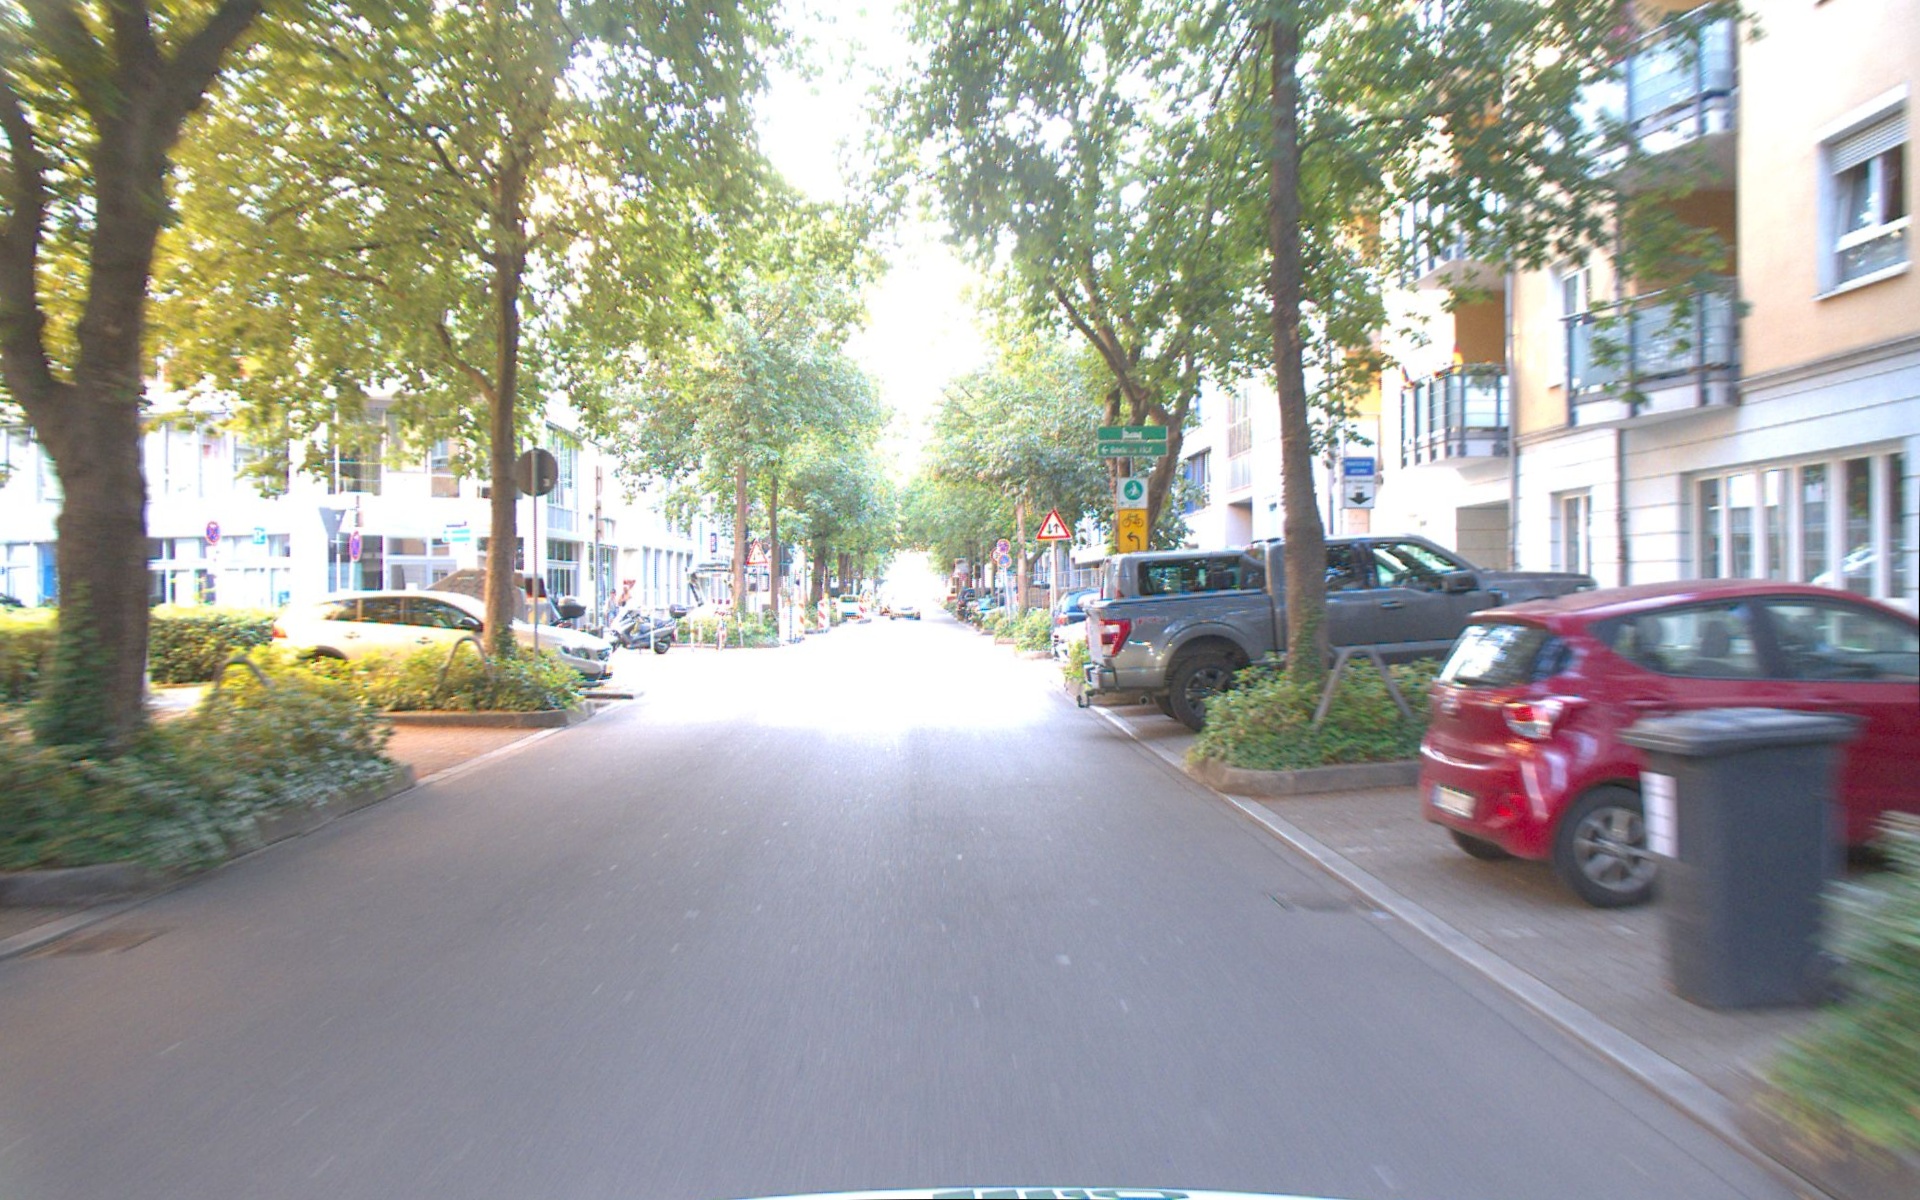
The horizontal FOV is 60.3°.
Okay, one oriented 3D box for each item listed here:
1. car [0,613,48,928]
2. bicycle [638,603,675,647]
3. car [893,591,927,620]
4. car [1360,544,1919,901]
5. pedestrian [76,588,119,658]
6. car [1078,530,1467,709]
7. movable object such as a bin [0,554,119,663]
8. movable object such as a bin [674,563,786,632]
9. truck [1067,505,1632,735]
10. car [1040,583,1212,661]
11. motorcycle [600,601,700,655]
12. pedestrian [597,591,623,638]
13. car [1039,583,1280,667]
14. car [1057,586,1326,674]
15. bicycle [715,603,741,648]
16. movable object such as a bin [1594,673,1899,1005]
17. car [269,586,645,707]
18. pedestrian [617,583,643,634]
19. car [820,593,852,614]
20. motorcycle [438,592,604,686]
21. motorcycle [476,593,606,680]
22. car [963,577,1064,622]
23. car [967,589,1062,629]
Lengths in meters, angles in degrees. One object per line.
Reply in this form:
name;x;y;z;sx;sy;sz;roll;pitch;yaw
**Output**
car;-6.541;0.815;7.078;4.201;1.455;1.879;0;0;-2
bicycle;-8.471;0.694;46.210;0.669;1.173;1.981;-1;1;0
car;-3.024;0.329;99.173;1.969;1.641;4.117;-1;1;-3
car;4.269;0.536;8.861;3.701;1.571;1.876;-3;0;-3
pedestrian;-23.581;0.609;45.225;0.881;1.883;0.864;-1;0;-38
car;3.893;0.222;21.214;4.508;2.102;2.196;-1;0;-3
movable object such as a bin;-25.318;0.223;43.756;5.512;2.739;2.285;0;1;19
movable object such as a bin;-8.421;-0.095;60.767;3.969;2.424;2.780;-1;1;-7
truck;4.172;0.203;18.479;5.768;2.351;2.212;-1;0;-1
car;3.526;0.455;35.541;3.467;1.591;1.831;-1;0;-2
motorcycle;-7.967;0.700;42.630;2.336;1.304;1.051;-1;1;-42
pedestrian;-11.783;0.482;55.704;0.754;1.562;0.642;-1;0;-2
car;3.900;0.474;32.891;4.528;1.598;2.010;0;0;-2
car;4.183;0.526;30.505;4.684;1.547;1.991;0;0;0
bicycle;-6.479;0.700;46.293;0.670;1.173;1.978;-1;1;-7
movable object such as a bin;2.943;0.866;6.264;0.745;1.103;0.785;-2;0;-1
car;-6.829;0.607;22.832;4.524;1.579;2.075;0;0;1
pedestrian;-11.060;0.284;55.400;0.724;1.720;0.607;-1;0;0
car;-7.911;0.194;105.548;1.955;1.310;3.995;-1;0;-6
motorcycle;-7.023;0.613;26.538;2.402;1.445;0.911;-1;0;0
motorcycle;-7.252;0.620;28.607;2.204;1.445;0.851;-1;0;30
car;2.529;-0.033;78.871;4.643;2.049;1.999;0;0;-2
car;2.275;0.381;69.842;3.905;1.612;2.000;-1;0;0
